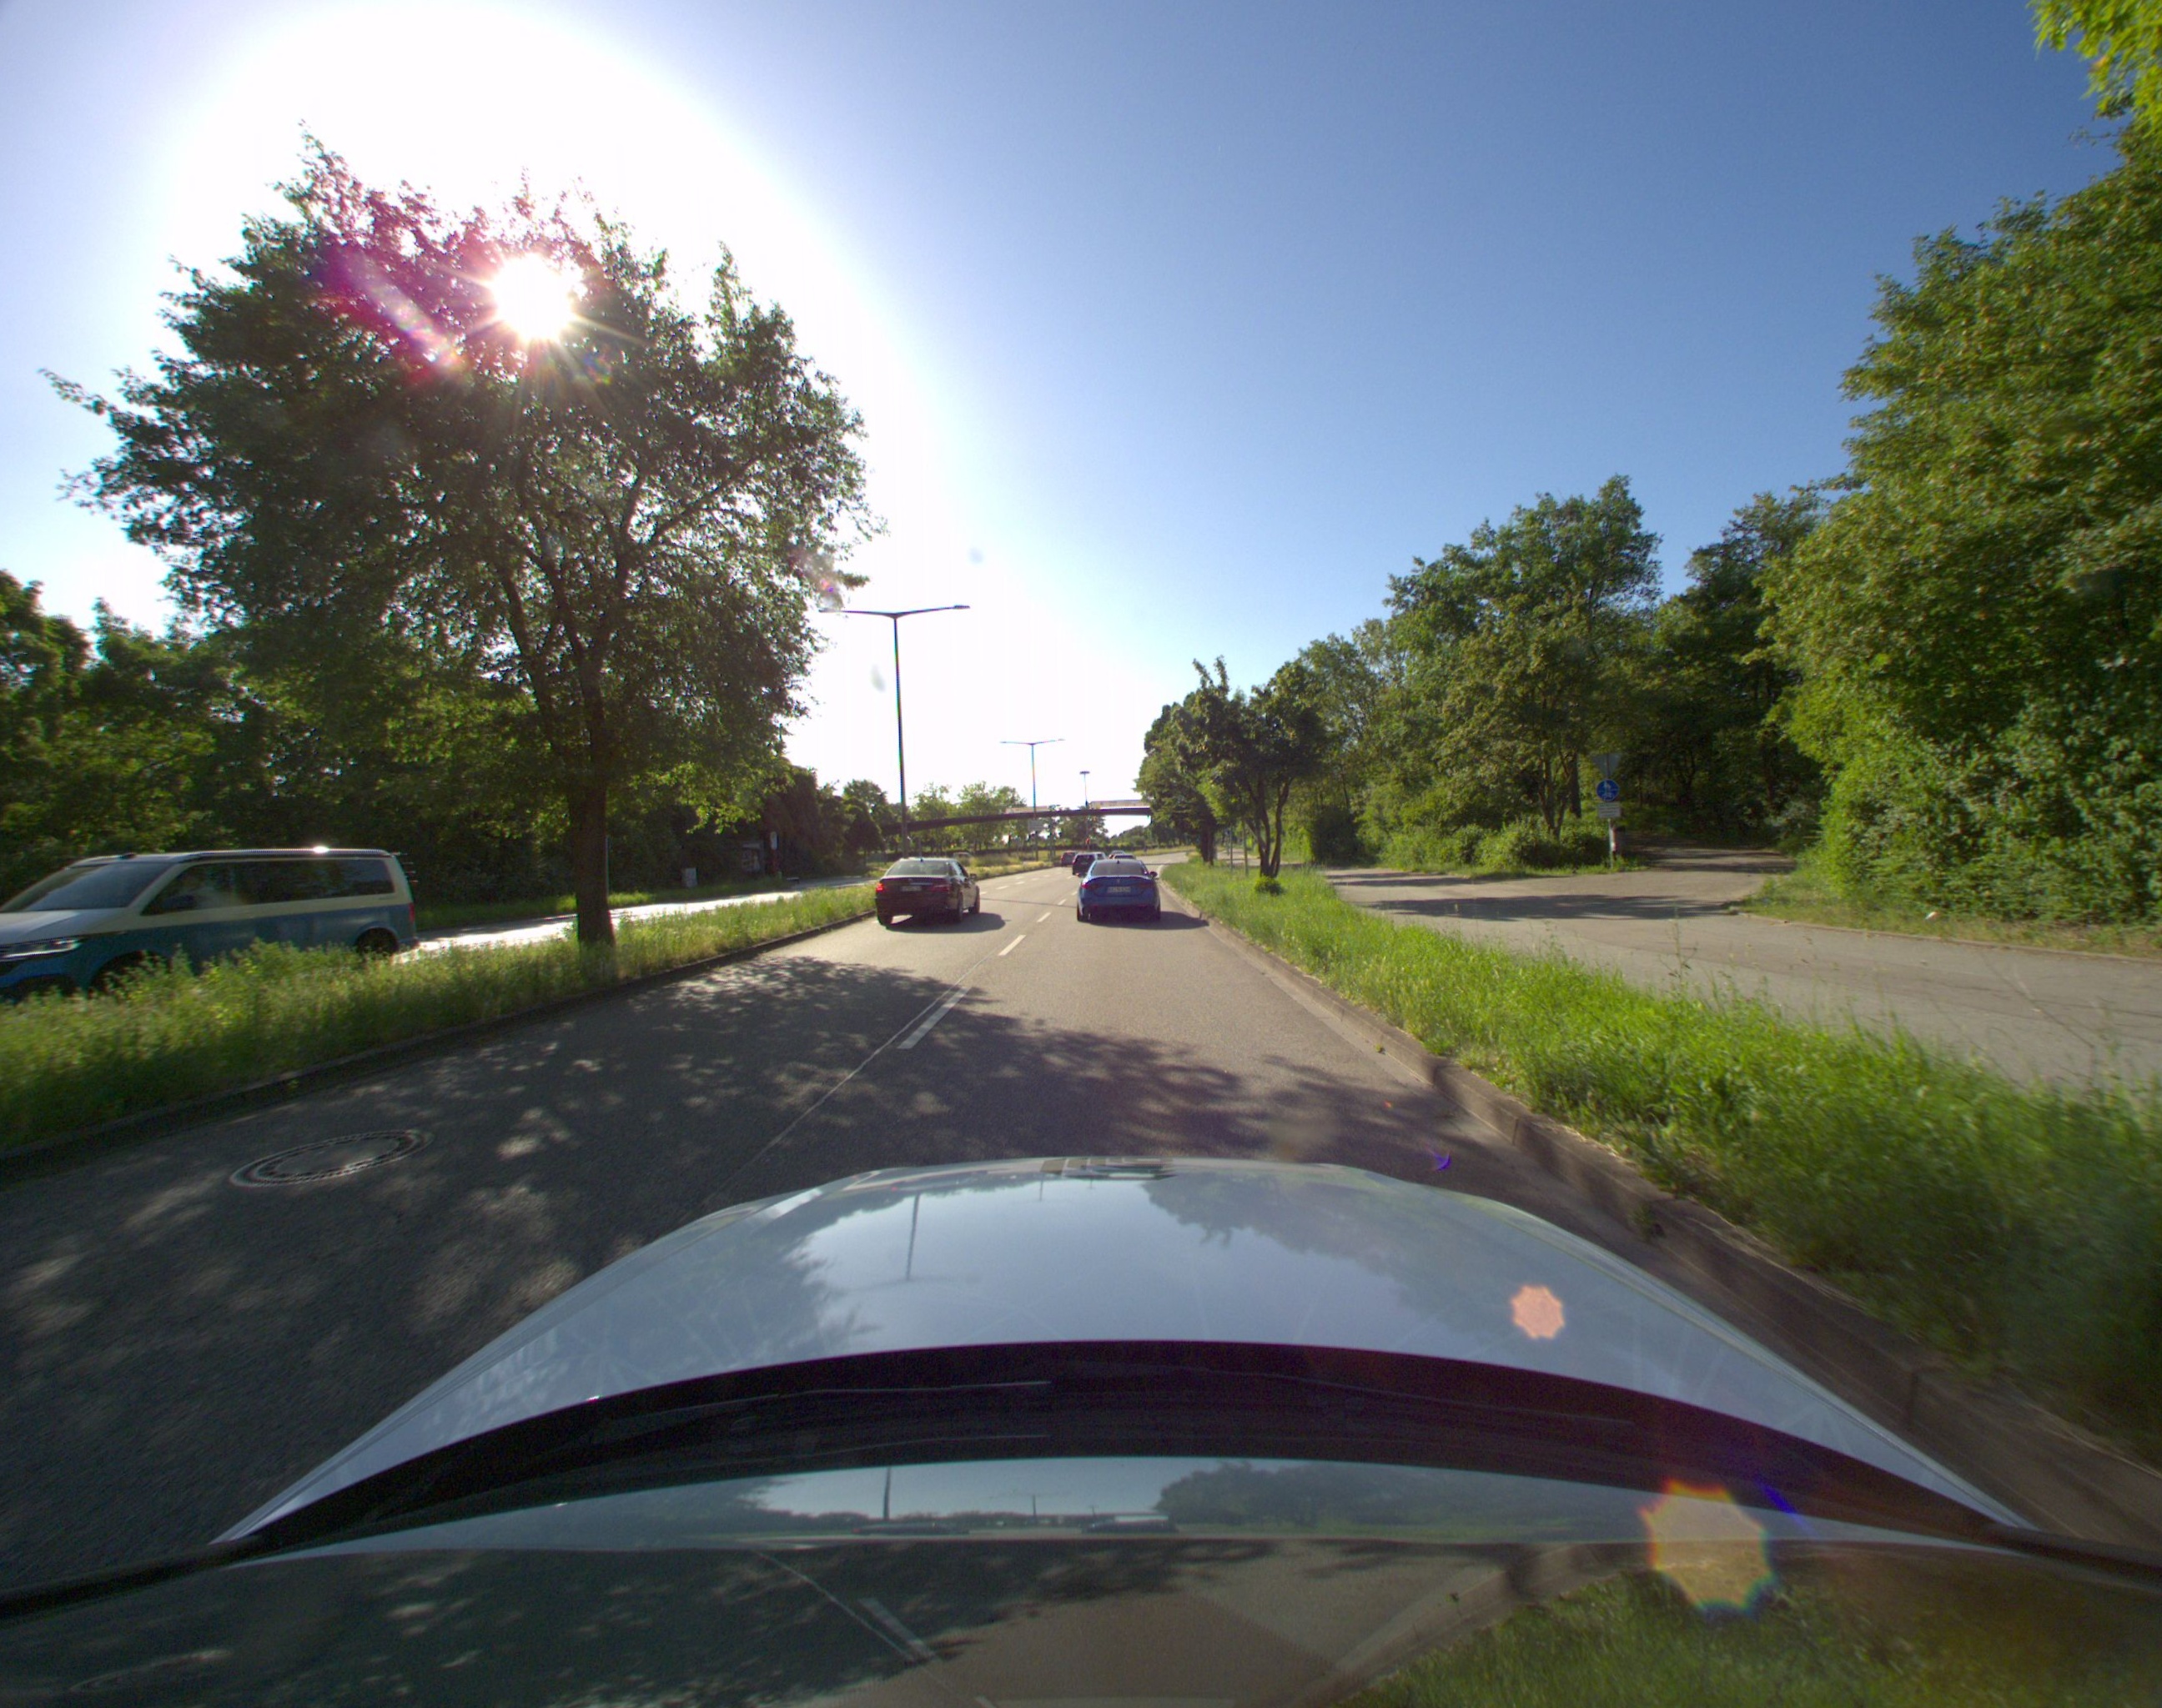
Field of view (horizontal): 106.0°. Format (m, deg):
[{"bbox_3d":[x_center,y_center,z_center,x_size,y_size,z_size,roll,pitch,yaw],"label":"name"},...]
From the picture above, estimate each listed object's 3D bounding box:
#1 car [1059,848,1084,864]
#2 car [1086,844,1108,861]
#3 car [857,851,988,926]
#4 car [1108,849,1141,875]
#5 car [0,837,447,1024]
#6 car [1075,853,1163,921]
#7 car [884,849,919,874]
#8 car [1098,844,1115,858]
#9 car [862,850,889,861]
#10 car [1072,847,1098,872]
[{"bbox_3d":[-0.915,0.204,82.374,1.786,1.555,3.740,-2,0,10],"label":"car"},{"bbox_3d":[1.466,-0.109,74.427,1.876,1.454,4.528,-2,0,1],"label":"car"},{"bbox_3d":[-3.607,0.723,19.540,1.951,1.483,4.921,-2,0,2],"label":"car"},{"bbox_3d":[2.596,0.456,49.509,1.876,1.454,4.528,-2,0,1],"label":"car"},{"bbox_3d":[-11.821,0.836,11.155,1.986,1.929,5.247,-3,0,1],"label":"car"},{"bbox_3d":[0.875,0.716,19.719,1.876,1.406,4.225,-2,0,1],"label":"car"},{"bbox_3d":[-14.967,0.602,68.157,1.988,2.013,4.579,-2,0,-2],"label":"car"},{"bbox_3d":[2.834,-0.325,91.662,1.876,1.454,4.528,-2,0,1],"label":"car"},{"bbox_3d":[-41.021,0.259,162.292,4.764,2.013,2.002,-2,0,4],"label":"car"},{"bbox_3d":[0.233,0.384,56.947,1.703,1.598,4.222,-2,0,-1],"label":"car"}]
